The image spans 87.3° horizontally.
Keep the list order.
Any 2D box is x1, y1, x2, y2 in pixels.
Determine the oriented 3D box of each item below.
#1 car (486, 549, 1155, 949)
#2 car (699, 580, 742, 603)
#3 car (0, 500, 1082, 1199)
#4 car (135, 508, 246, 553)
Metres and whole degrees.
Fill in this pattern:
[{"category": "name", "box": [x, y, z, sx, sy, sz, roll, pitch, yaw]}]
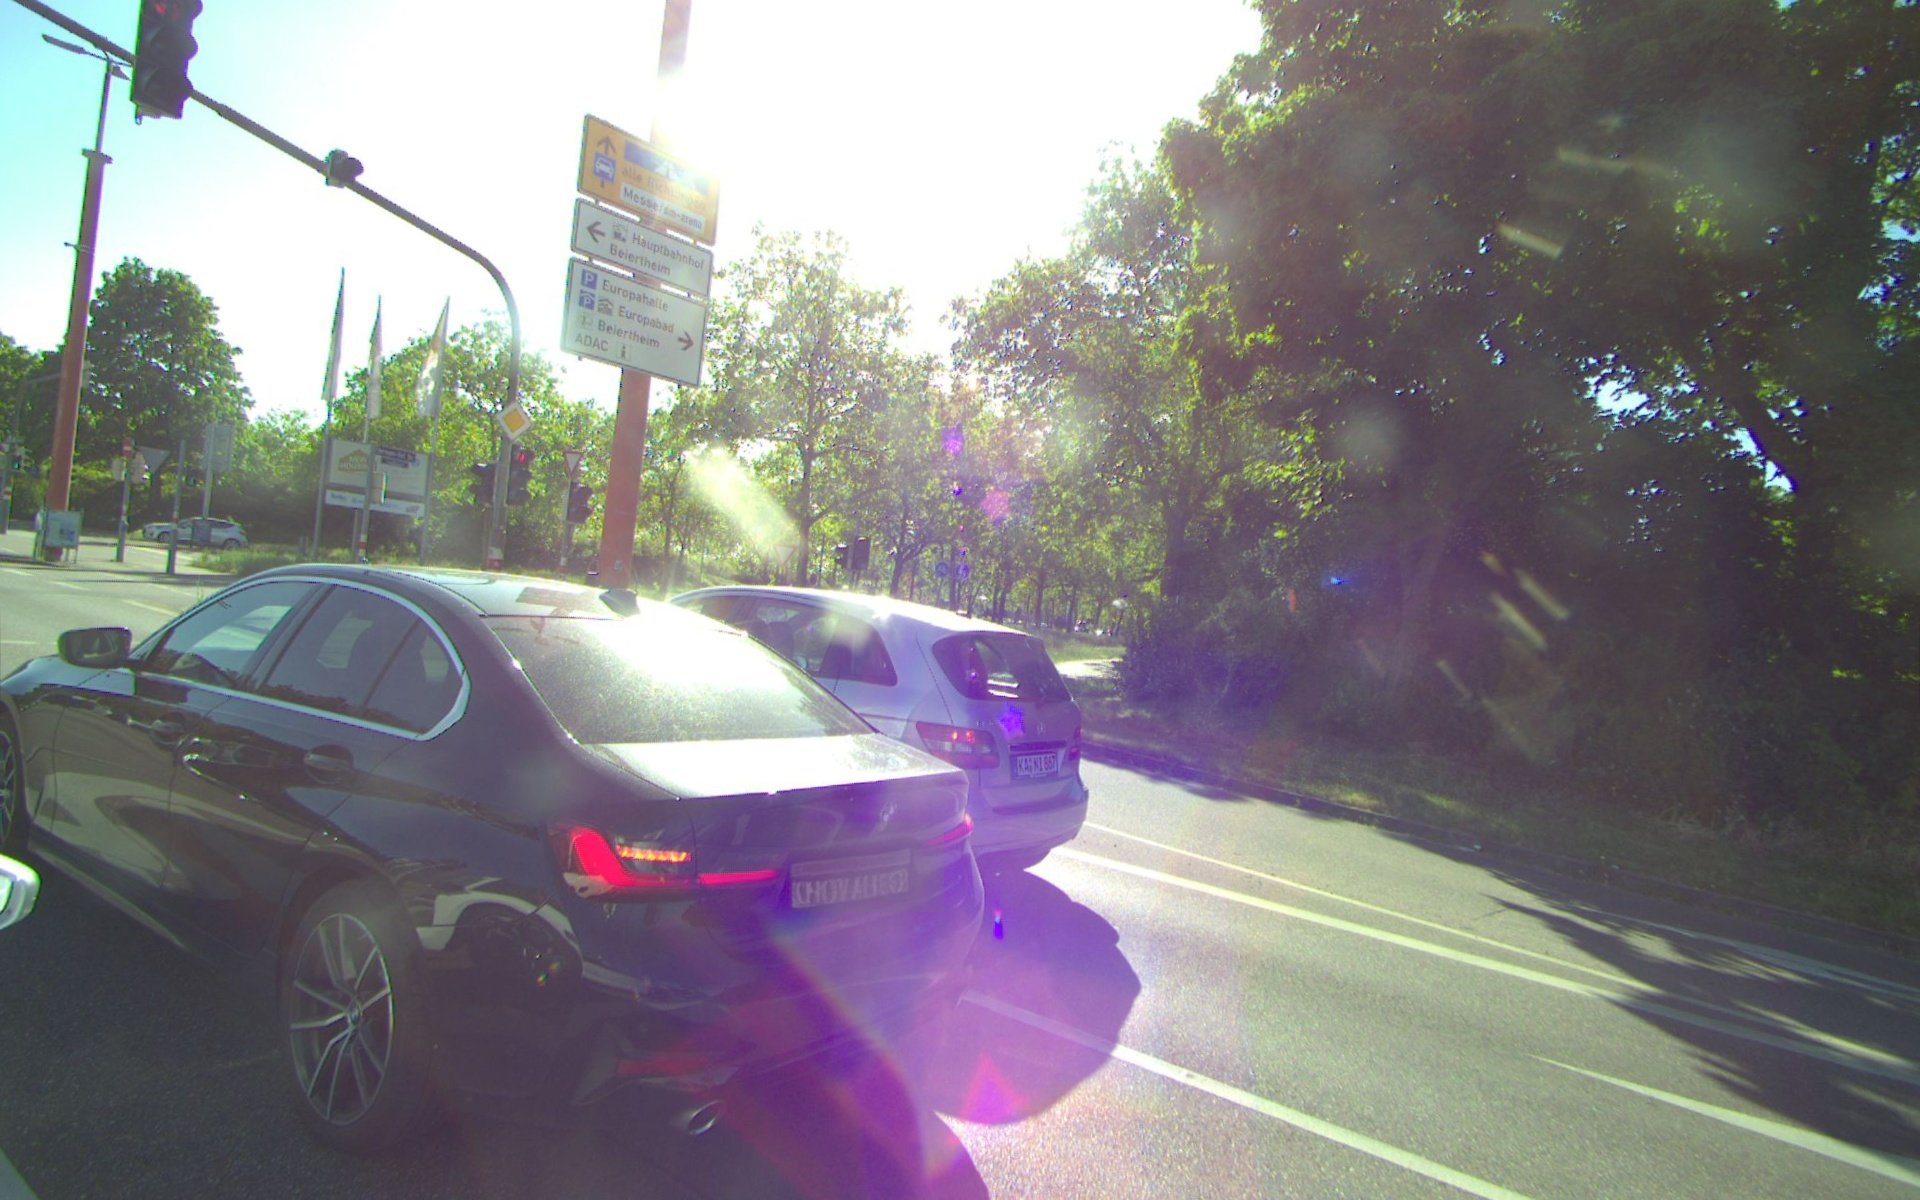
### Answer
[{"category": "car", "box": [-1.011, 0.709, 6.481, 3.963, 1.597, 1.741, 7, 0, 33]}, {"category": "car", "box": [-21.081, -0.742, 88.669, 1.834, 1.597, 4.002, 7, -1, 17]}, {"category": "car", "box": [-1.976, 0.549, 3.856, 4.372, 1.415, 1.871, 7, 0, 34]}, {"category": "car", "box": [-36.665, -3.299, 48.010, 3.970, 1.485, 1.663, 8, -1, -44]}]
